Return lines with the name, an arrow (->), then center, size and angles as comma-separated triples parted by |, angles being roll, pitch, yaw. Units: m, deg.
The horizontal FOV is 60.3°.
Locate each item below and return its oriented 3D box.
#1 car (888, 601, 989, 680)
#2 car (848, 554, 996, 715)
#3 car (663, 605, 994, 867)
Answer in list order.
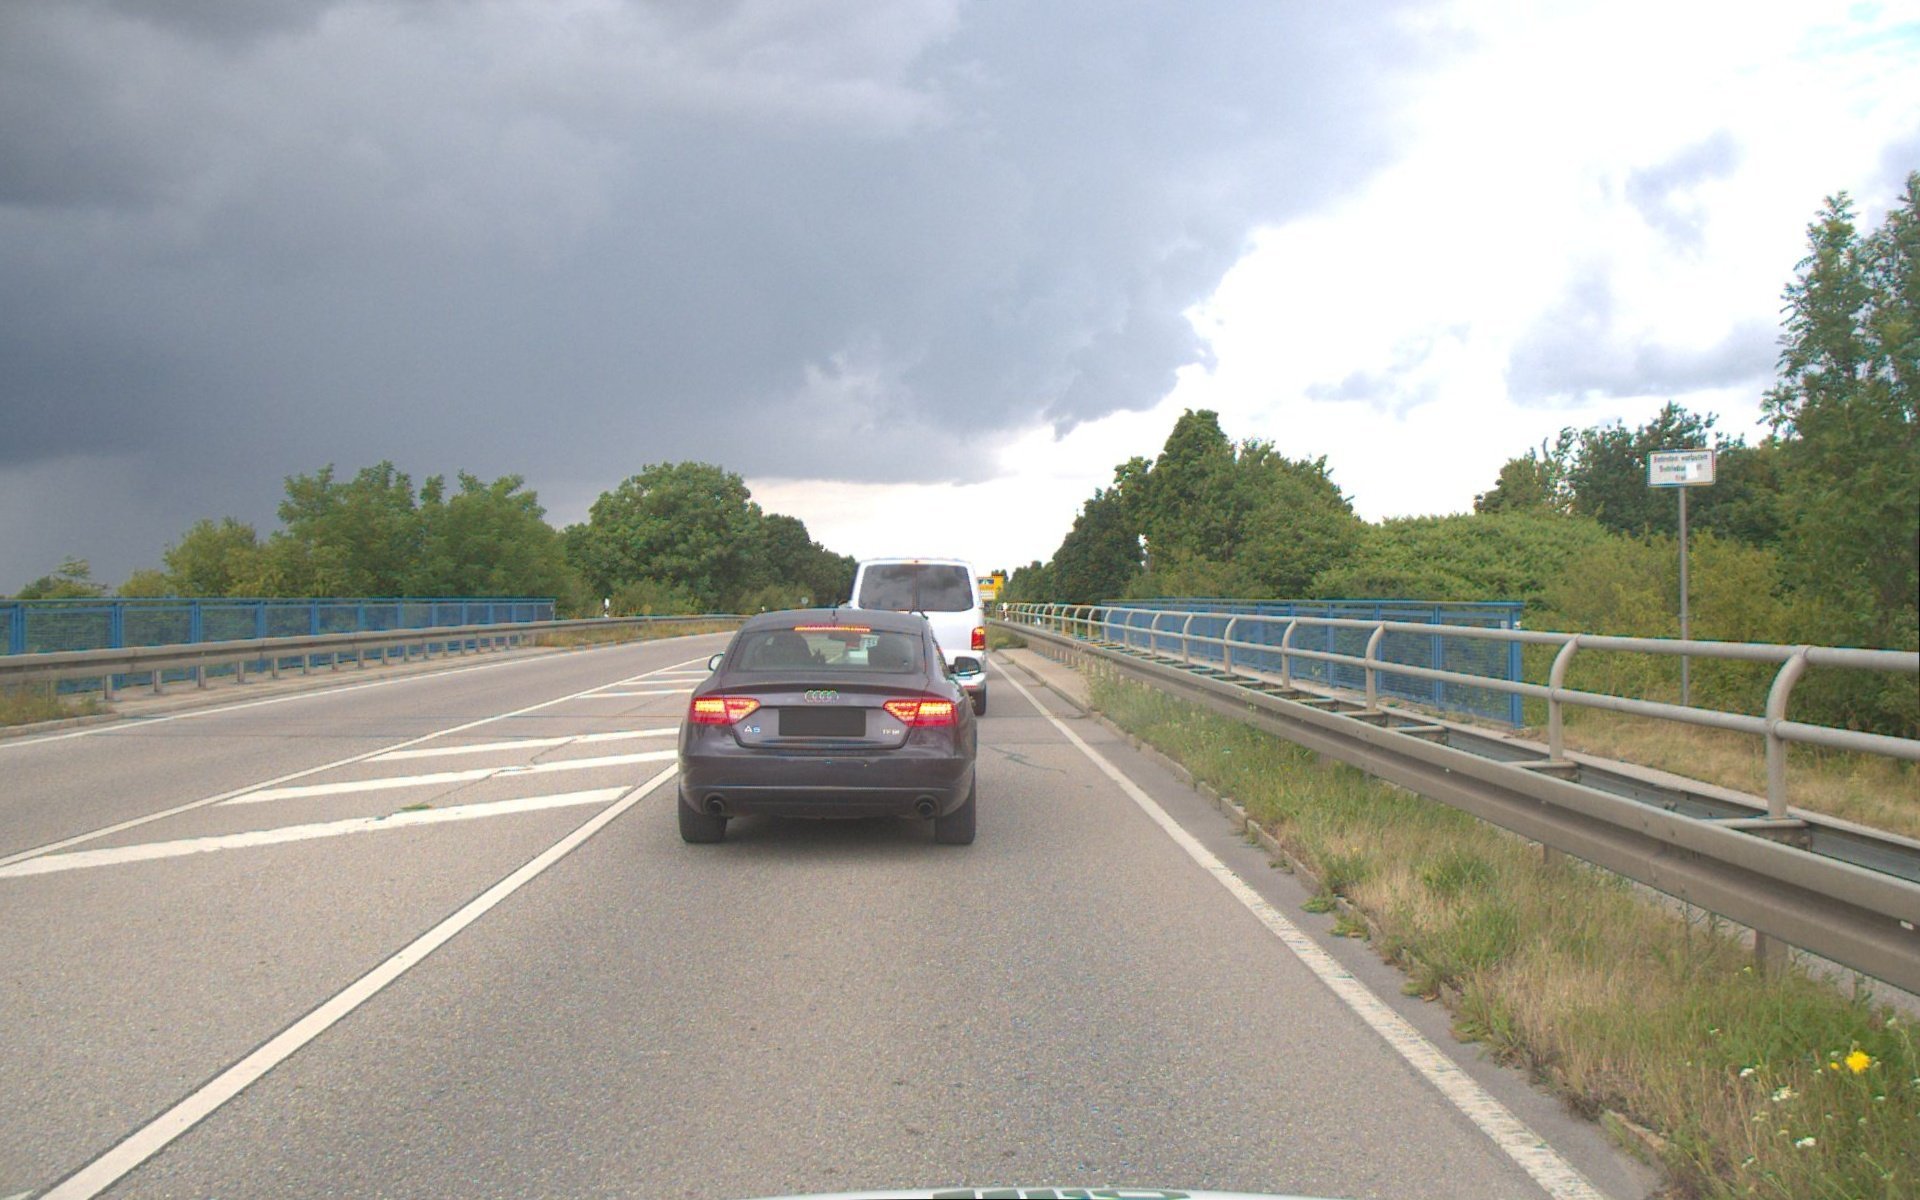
car -> -0.384, 0.723, 31.325 | 1.784, 1.405, 4.071 | 0, 0, 0
car -> -0.512, 0.426, 22.229 | 1.791, 1.969, 3.999 | 0, 0, -1
car -> -0.720, 0.744, 11.037 | 1.784, 1.405, 4.071 | 1, 0, 0
